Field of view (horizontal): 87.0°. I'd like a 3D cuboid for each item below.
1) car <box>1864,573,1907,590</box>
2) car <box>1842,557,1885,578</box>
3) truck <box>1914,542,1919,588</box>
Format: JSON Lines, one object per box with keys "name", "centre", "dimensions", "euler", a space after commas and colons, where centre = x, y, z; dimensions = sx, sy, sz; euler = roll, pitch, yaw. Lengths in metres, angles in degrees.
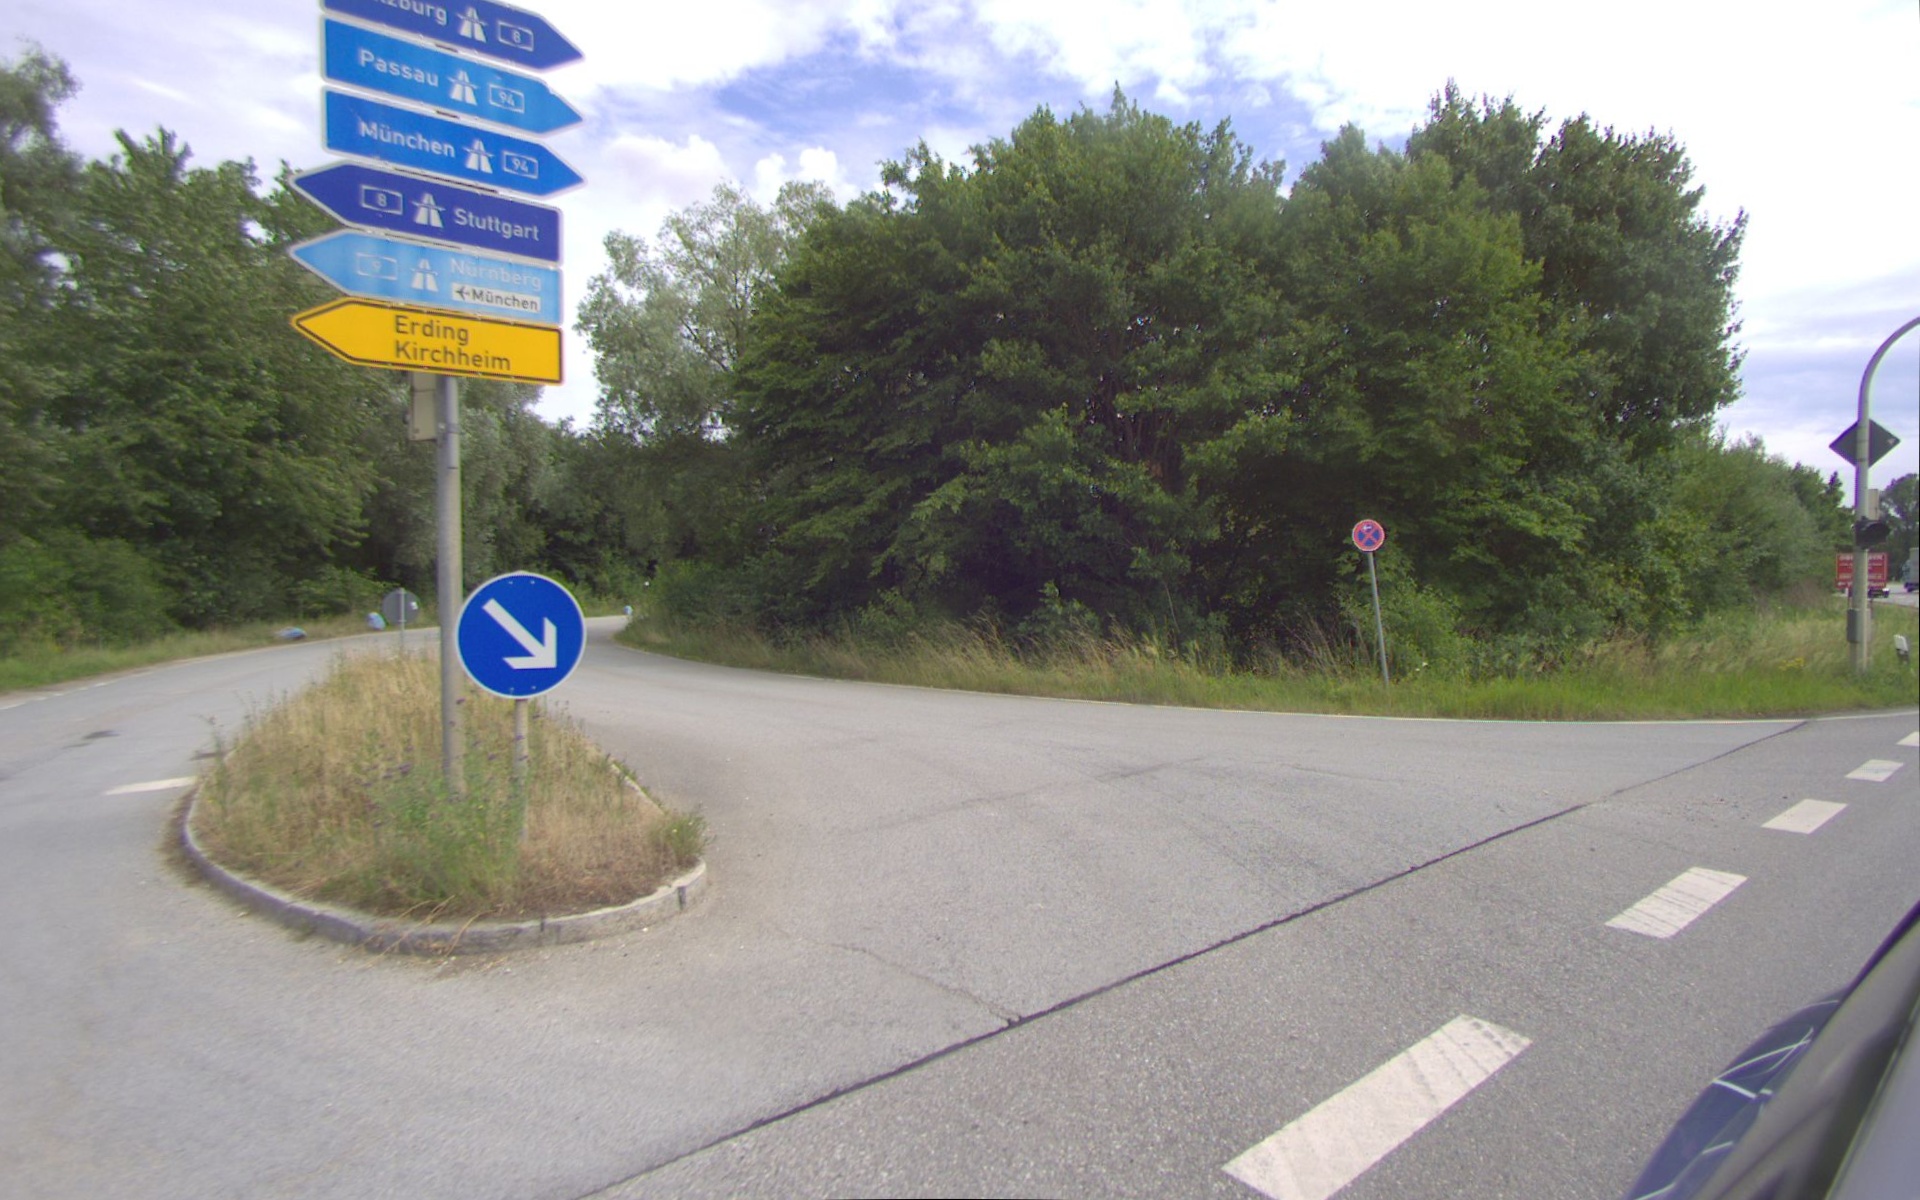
{"name": "car", "centre": [76.576, -1.520, 83.777], "dimensions": [1.716, 1.382, 3.961], "euler": [1, 2, 28]}
{"name": "car", "centre": [122.605, -4.451, 137.457], "dimensions": [2.416, 2.708, 6.830], "euler": [-1, 1, 25]}
{"name": "truck", "centre": [87.547, -3.157, 90.102], "dimensions": [2.521, 4.147, 3.967], "euler": [-1, 1, 24]}
